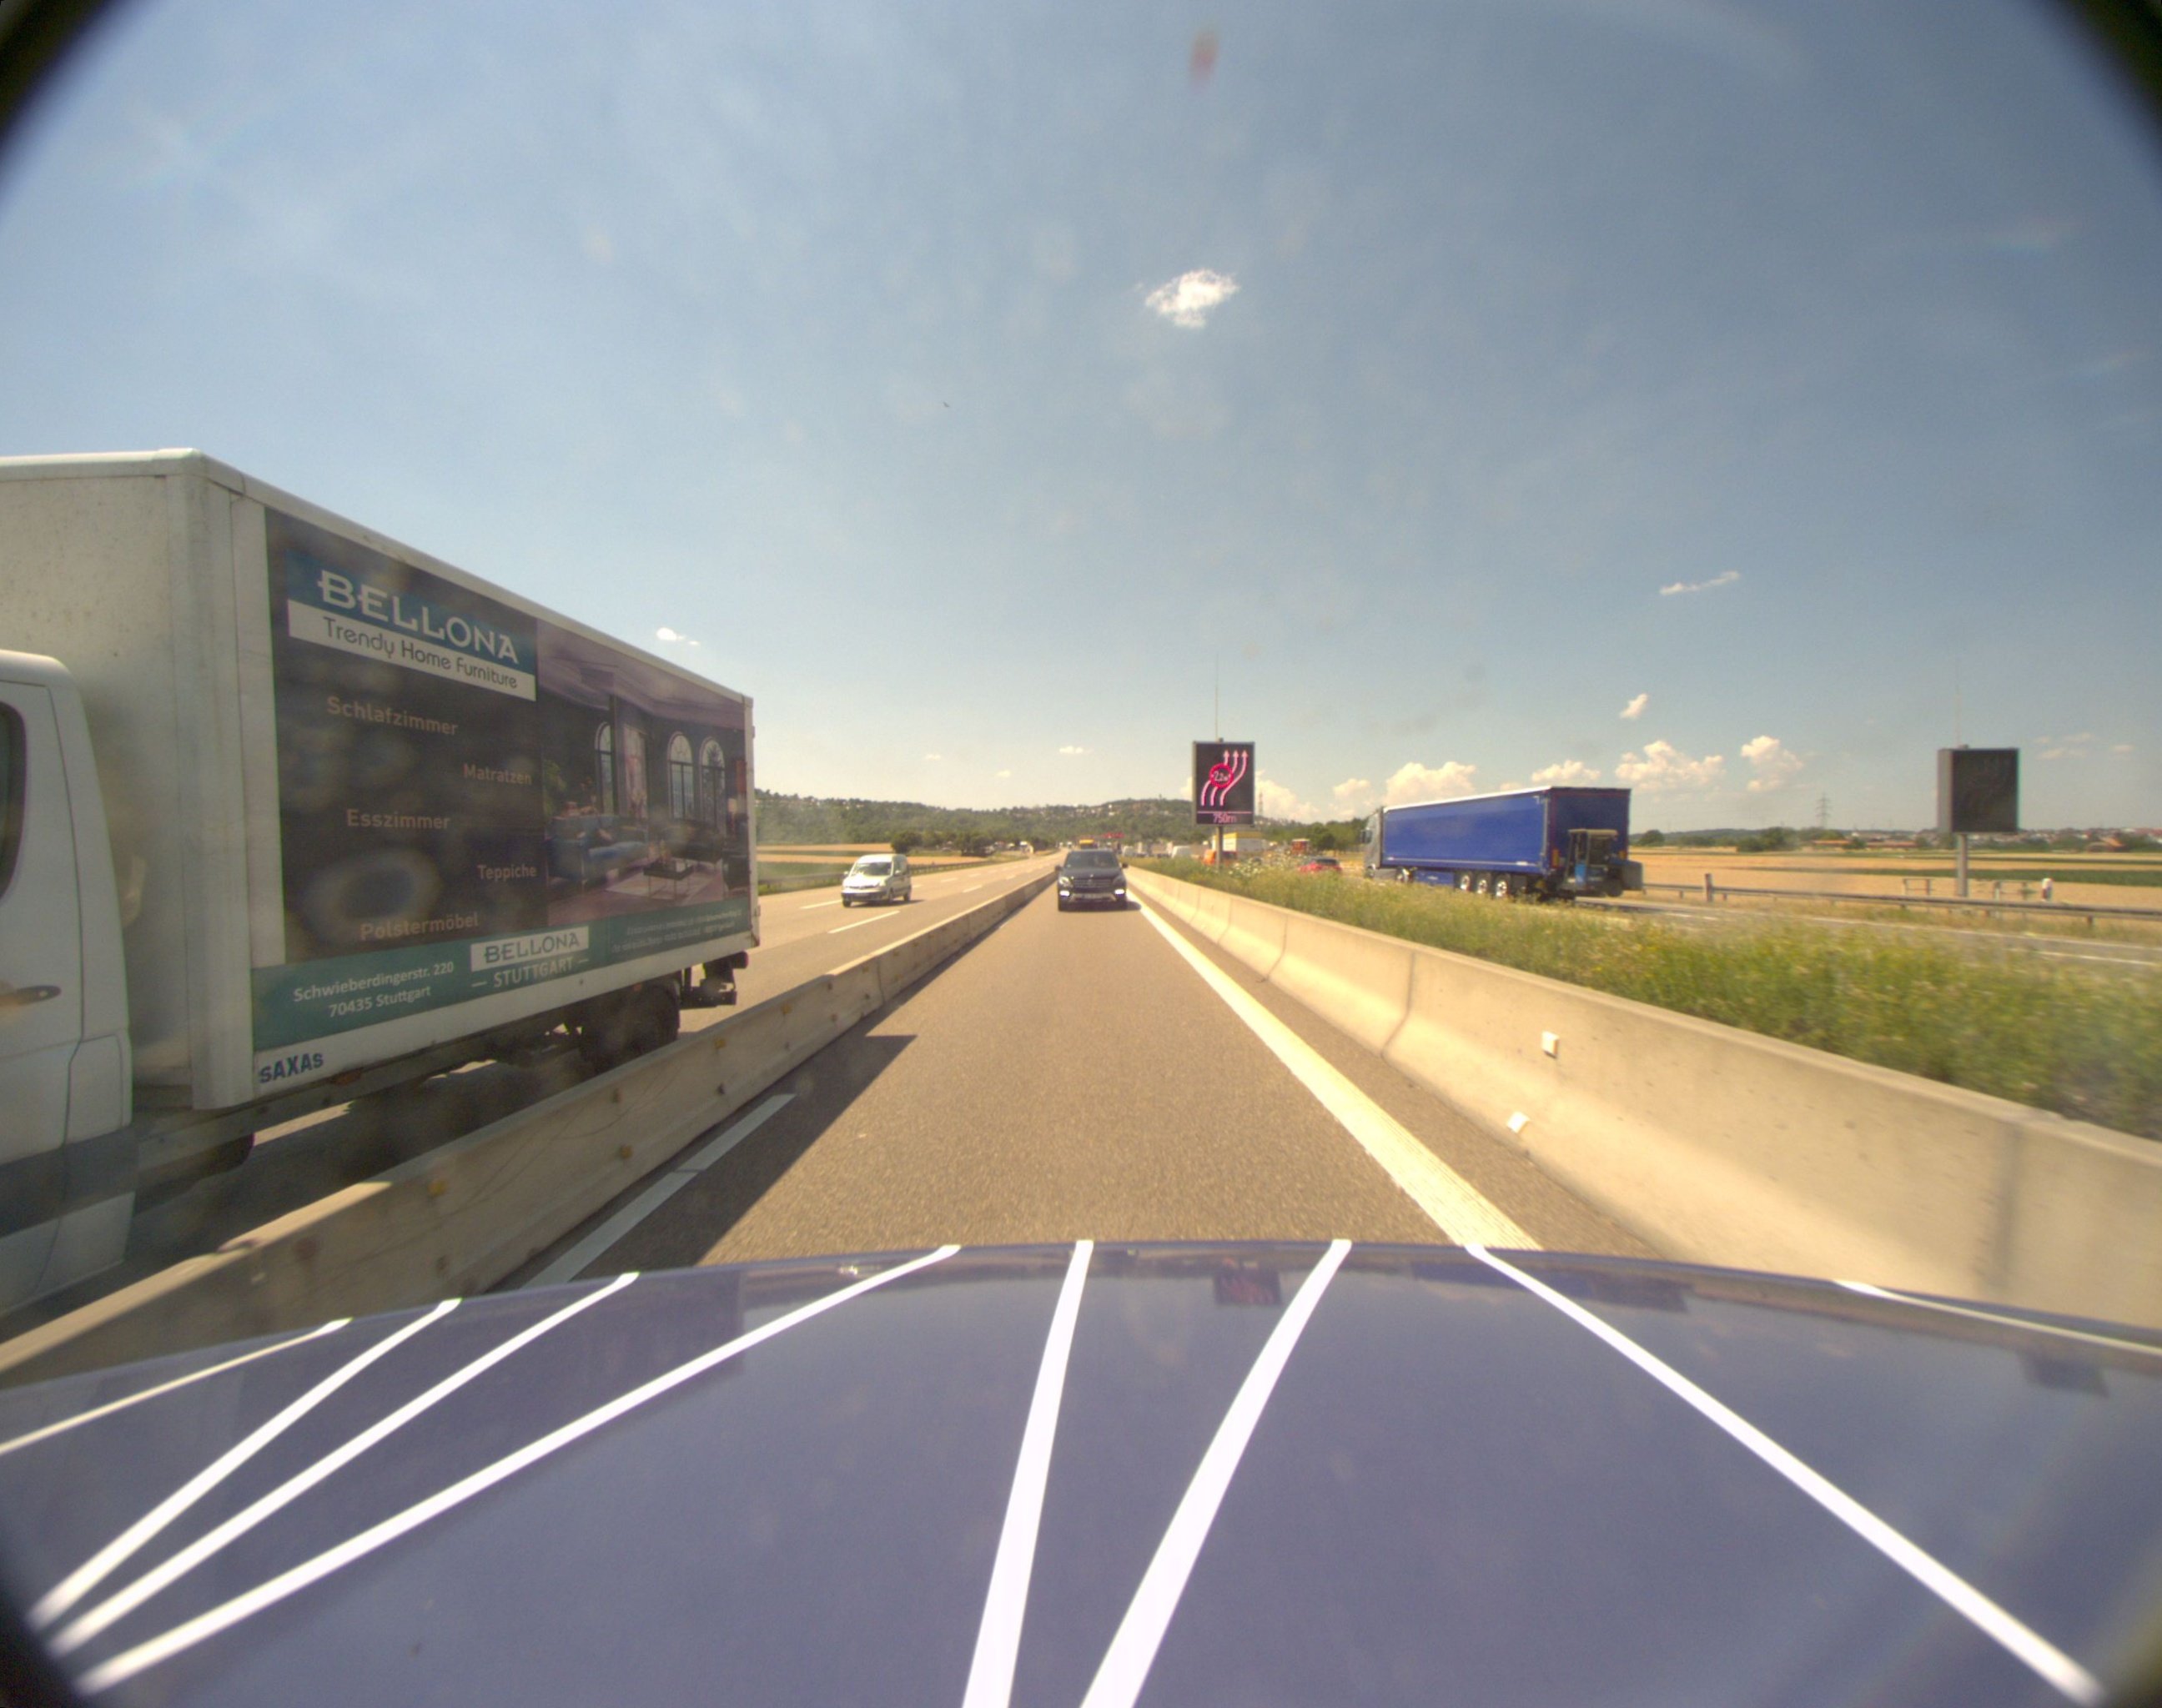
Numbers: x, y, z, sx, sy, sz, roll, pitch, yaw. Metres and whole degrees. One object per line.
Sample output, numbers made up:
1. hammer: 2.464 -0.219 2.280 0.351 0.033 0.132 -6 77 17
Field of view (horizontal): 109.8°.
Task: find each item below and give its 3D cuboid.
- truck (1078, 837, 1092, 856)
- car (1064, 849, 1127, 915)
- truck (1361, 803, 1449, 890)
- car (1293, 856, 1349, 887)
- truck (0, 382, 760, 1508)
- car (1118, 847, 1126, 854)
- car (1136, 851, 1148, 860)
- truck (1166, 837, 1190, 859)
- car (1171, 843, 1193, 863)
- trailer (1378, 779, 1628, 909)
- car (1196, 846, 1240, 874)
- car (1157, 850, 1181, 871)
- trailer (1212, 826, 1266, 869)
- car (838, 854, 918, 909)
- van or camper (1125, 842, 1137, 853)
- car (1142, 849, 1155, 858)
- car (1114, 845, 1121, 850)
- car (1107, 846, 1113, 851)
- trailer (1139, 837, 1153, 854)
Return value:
1. truck: 0.764 -1.362 130.269 2.272 3.139 8.185 -2 1 1
2. car: 0.436 0.757 22.302 1.630 1.711 3.865 -2 0 1
3. truck: 16.009 -0.345 37.832 2.417 4.063 4.659 0 0 1
4. car: 12.208 0.863 38.889 1.592 1.499 4.229 0 0 1
5. truck: -4.079 0.261 3.328 2.326 3.049 6.751 -2 0 1
6. car: 9.840 -0.866 184.307 1.786 1.580 4.540 -1 0 1
7. car: 9.780 0.286 122.575 1.601 1.460 4.533 0 0 0
8. truck: 17.422 -1.076 137.582 2.801 3.588 13.288 2 1 1
9. car: 13.033 -0.166 98.200 2.052 2.486 5.811 0 0 0
10. trailer: 15.914 -0.327 30.761 2.392 4.063 14.096 0 0 1
11. car: 8.657 0.336 48.353 1.899 1.569 4.935 -2 1 0
12. car: 8.795 0.632 76.349 1.998 2.002 4.685 -1 0 2
13. trailer: 16.503 -0.626 80.520 2.817 4.104 14.129 0 0 0
14. car: -7.068 0.903 26.816 1.630 1.727 3.973 -2 0 1
15. van or camper: 10.025 -1.257 152.738 2.040 2.208 7.207 -2 0 0
16. car: 12.509 -0.085 140.996 1.891 1.700 5.521 1 0 -1
17. car: 10.227 -1.838 212.622 1.848 1.560 5.344 -1 0 1
18. car: 10.263 -2.022 266.008 1.895 1.608 4.820 -1 1 1
19. trailer: 17.539 -2.302 205.909 2.900 4.350 12.991 1 1 1
